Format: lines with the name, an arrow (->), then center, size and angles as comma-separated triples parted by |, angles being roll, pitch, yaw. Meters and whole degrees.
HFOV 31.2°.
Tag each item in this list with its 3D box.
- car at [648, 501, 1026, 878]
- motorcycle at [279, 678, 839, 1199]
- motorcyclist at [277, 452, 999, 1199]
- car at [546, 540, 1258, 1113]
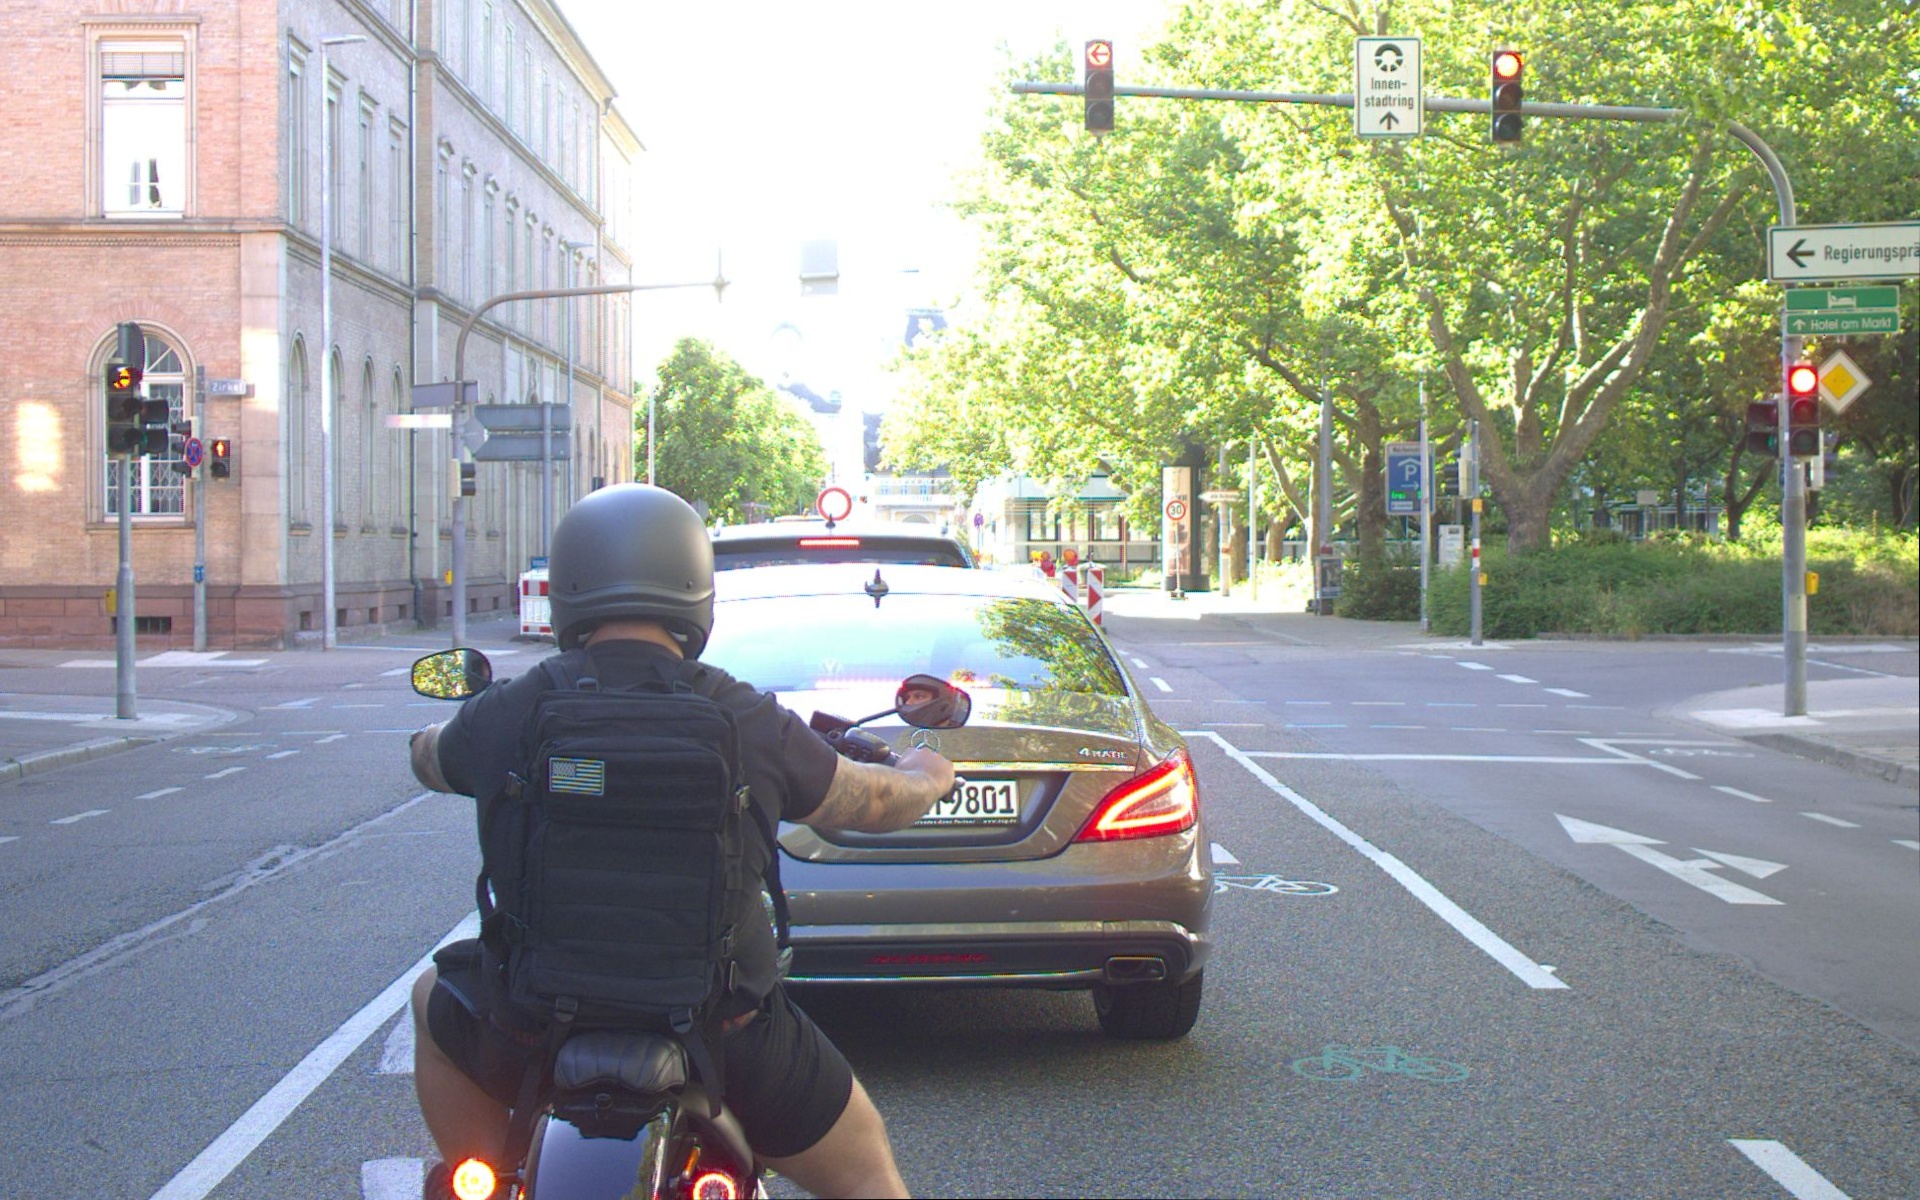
car -> -0.567, 0.376, 17.230 | 1.651, 1.646, 4.000 | 1, 1, -1
motorcycle -> -0.555, 0.778, 5.437 | 0.660, 1.236, 2.058 | 1, 1, -1
motorcyclist -> -0.458, 0.598, 5.342 | 0.990, 1.605, 1.120 | 1, 0, -1
car -> -0.399, 0.570, 11.142 | 1.824, 1.481, 4.334 | 1, 1, -7
